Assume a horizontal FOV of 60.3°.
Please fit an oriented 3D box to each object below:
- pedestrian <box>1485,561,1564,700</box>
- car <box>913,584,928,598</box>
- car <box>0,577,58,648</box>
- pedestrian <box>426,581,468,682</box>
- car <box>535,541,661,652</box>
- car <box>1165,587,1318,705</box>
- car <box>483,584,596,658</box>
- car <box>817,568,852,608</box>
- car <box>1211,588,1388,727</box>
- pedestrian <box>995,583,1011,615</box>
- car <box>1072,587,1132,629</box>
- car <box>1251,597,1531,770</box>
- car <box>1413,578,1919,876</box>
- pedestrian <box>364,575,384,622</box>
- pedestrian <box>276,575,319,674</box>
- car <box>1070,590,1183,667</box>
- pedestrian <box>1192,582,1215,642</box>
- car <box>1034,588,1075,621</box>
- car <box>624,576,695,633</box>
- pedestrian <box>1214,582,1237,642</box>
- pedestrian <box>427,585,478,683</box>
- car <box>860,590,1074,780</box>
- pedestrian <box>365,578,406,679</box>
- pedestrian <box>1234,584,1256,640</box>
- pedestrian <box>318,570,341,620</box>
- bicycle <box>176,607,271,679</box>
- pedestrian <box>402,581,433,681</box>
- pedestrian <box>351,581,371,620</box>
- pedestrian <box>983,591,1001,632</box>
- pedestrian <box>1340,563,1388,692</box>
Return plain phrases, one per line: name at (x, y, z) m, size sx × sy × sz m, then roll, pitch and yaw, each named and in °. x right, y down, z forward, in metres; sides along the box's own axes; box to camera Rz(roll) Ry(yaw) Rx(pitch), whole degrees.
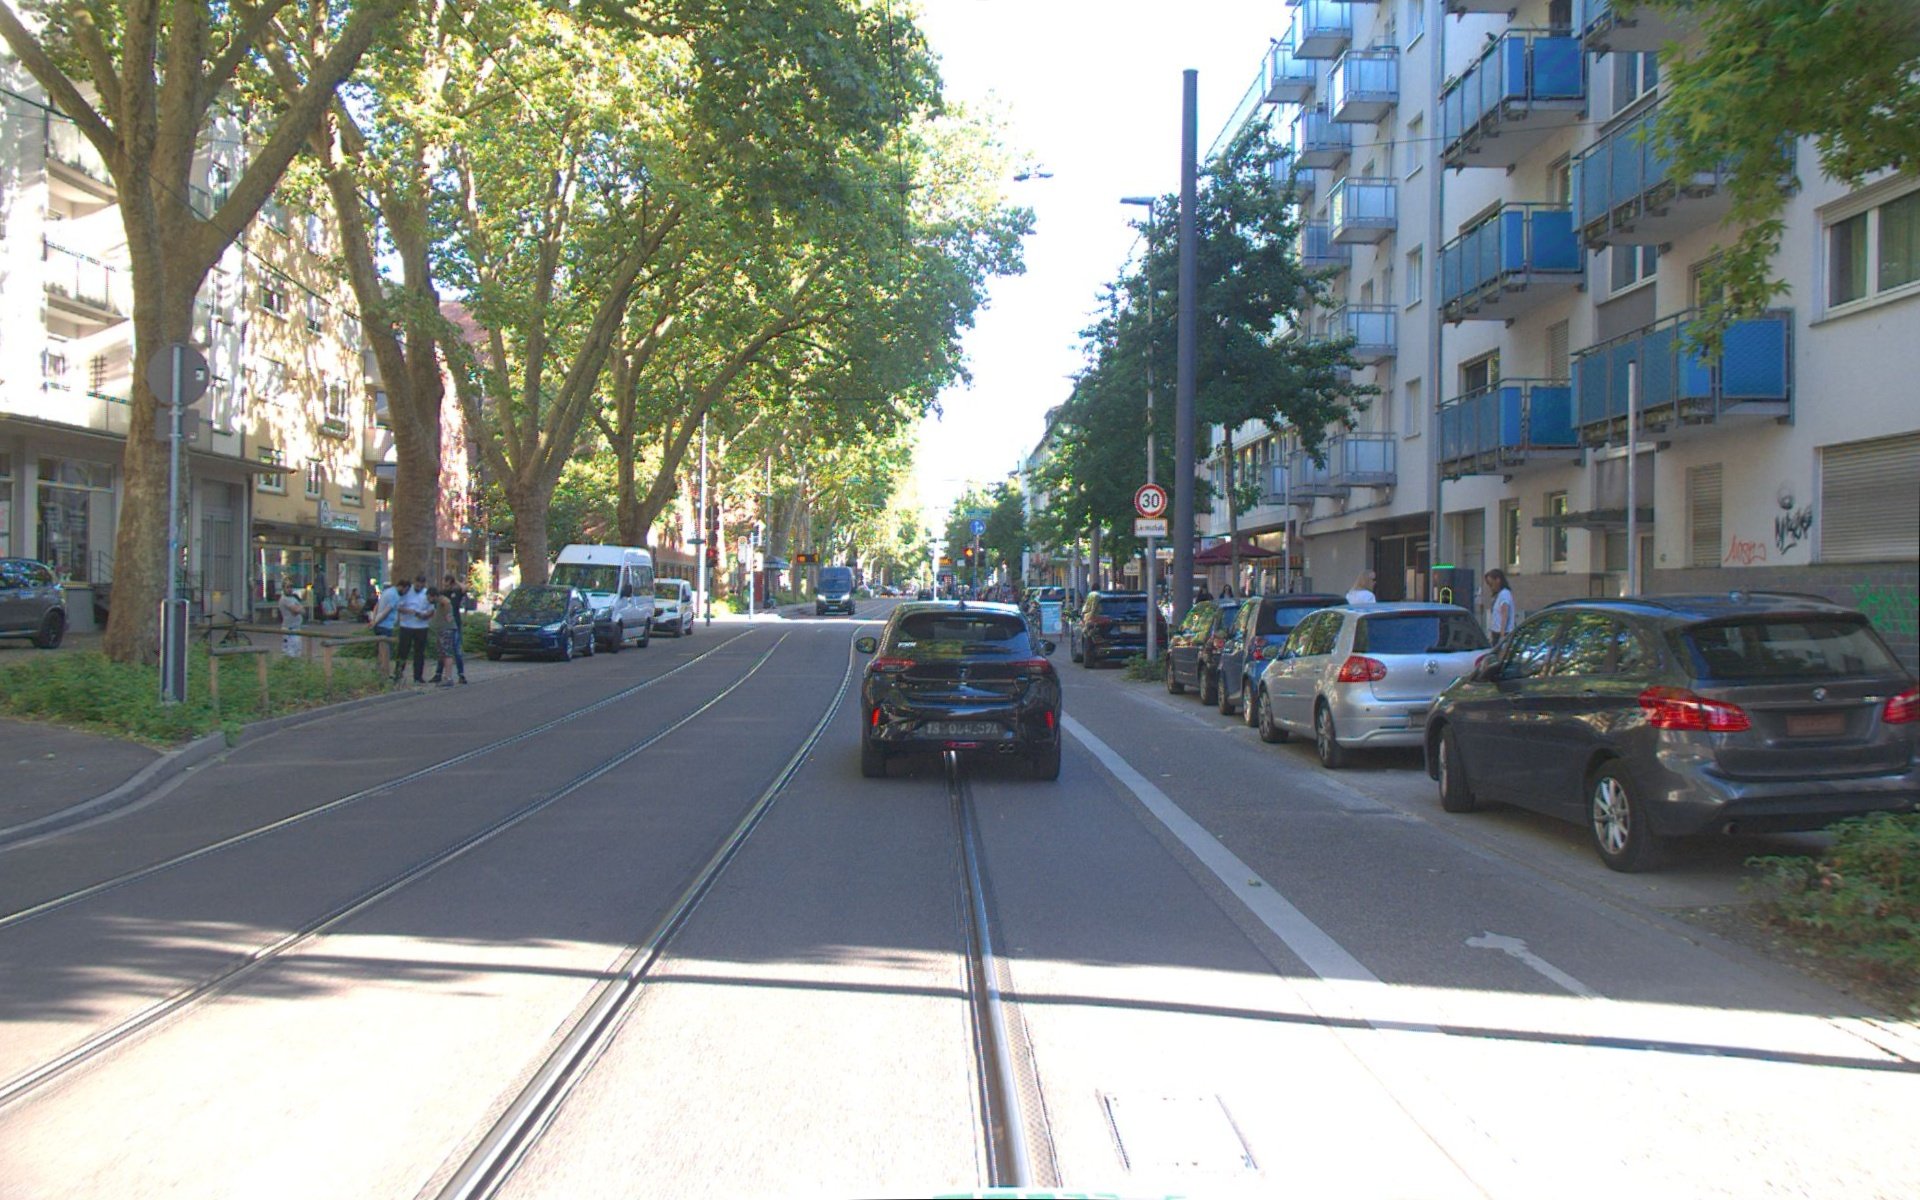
pedestrian at (7.388, 0.388, 21.689) m, size 0.776 × 1.779 × 0.770 m, roll 0°, pitch 0°, yaw 1°
car at (-4.890, -1.140, 205.671) m, size 1.714 × 1.680 × 4.000 m, roll 1°, pitch 0°, yaw 0°
car at (-18.854, 0.224, 31.142) m, size 1.661 × 1.298 × 3.827 m, roll 2°, pitch 1°, yaw -1°
pedestrian at (-8.310, 0.507, 26.802) m, size 0.496 × 1.610 × 0.526 m, roll 1°, pitch 0°, yaw -2°
car at (-9.218, -0.107, 42.626) m, size 2.050 × 2.629 × 5.995 m, roll 0°, pitch 0°, yaw -1°
car at (4.094, 0.628, 24.552) m, size 1.683 × 1.601 × 3.682 m, roll 0°, pitch 0°, yaw 1°
car at (-9.202, 0.431, 36.466) m, size 1.720 × 1.534 × 3.996 m, roll 0°, pitch 0°, yaw -4°
car at (-7.225, -0.682, 94.783) m, size 1.955 × 2.250 × 5.097 m, roll 0°, pitch 0°, yaw -5°
car at (4.191, 0.665, 20.817) m, size 1.617 × 1.601 × 3.084 m, roll 0°, pitch 0°, yaw 1°
pedestrian at (2.824, -0.060, 108.498) m, size 0.839 × 2.048 × 1.069 m, roll -4°, pitch -1°, yaw -1°
car at (5.993, 0.323, 69.423) m, size 1.951 × 1.668 × 4.003 m, roll 1°, pitch 0°, yaw 13°
car at (4.141, 0.736, 16.459) m, size 1.684 × 1.516 × 3.680 m, roll 0°, pitch 0°, yaw -3°
car at (4.560, 0.677, 10.984) m, size 1.684 × 1.601 × 4.080 m, roll 0°, pitch 0°, yaw -5°
pedestrian at (-20.277, -0.064, 57.239) m, size 0.497 × 1.610 × 0.526 m, roll 1°, pitch 0°, yaw -4°
pedestrian at (-10.862, 0.399, 27.140) m, size 0.497 × 1.610 × 0.526 m, roll 1°, pitch 0°, yaw -4°
car at (3.480, 0.554, 35.252) m, size 1.953 × 1.534 × 3.999 m, roll 0°, pitch 0°, yaw -1°
pedestrian at (7.291, 0.352, 49.483) m, size 0.616 × 1.763 × 0.632 m, roll 0°, pitch 0°, yaw 4°
car at (5.206, 0.230, 91.463) m, size 1.953 × 1.735 × 3.999 m, roll 0°, pitch 0°, yaw -1°
car at (-9.583, 0.138, 53.055) m, size 1.955 × 1.747 × 3.994 m, roll 0°, pitch 0°, yaw -7°
pedestrian at (7.956, 0.361, 49.534) m, size 0.616 × 1.763 × 0.632 m, roll 0°, pitch 0°, yaw 4°
pedestrian at (-8.444, 0.561, 27.534) m, size 0.670 × 1.610 × 0.557 m, roll 1°, pitch 0°, yaw -3°
car at (0.012, 0.671, 14.915) m, size 1.646 × 1.447 × 3.626 m, roll 2°, pitch 0°, yaw -2°
pedestrian at (-9.236, 0.450, 26.595) m, size 0.497 × 1.610 × 0.526 m, roll 1°, pitch 0°, yaw -5°
pedestrian at (9.067, 0.390, 52.679) m, size 0.616 × 1.763 × 0.632 m, roll 0°, pitch 0°, yaw 5°
pedestrian at (-20.482, -0.167, 53.746) m, size 0.542 × 1.610 × 0.573 m, roll 1°, pitch 0°, yaw -5°
bicycle at (-11.920, 0.693, 26.763) m, size 1.659 × 1.080 × 0.452 m, roll 2°, pitch -1°, yaw 29°
pedestrian at (-8.811, 0.502, 26.881) m, size 0.339 × 1.610 × 0.508 m, roll 1°, pitch 0°, yaw -3°
pedestrian at (-20.965, 0.033, 57.895) m, size 0.497 × 1.356 × 0.526 m, roll 1°, pitch 0°, yaw -4°
pedestrian at (1.289, 0.458, 66.921) m, size 0.583 × 1.618 × 0.891 m, roll 0°, pitch 0°, yaw -8°
pedestrian at (5.359, 0.353, 21.931) m, size 0.587 × 1.680 × 0.631 m, roll 0°, pitch 0°, yaw 16°
